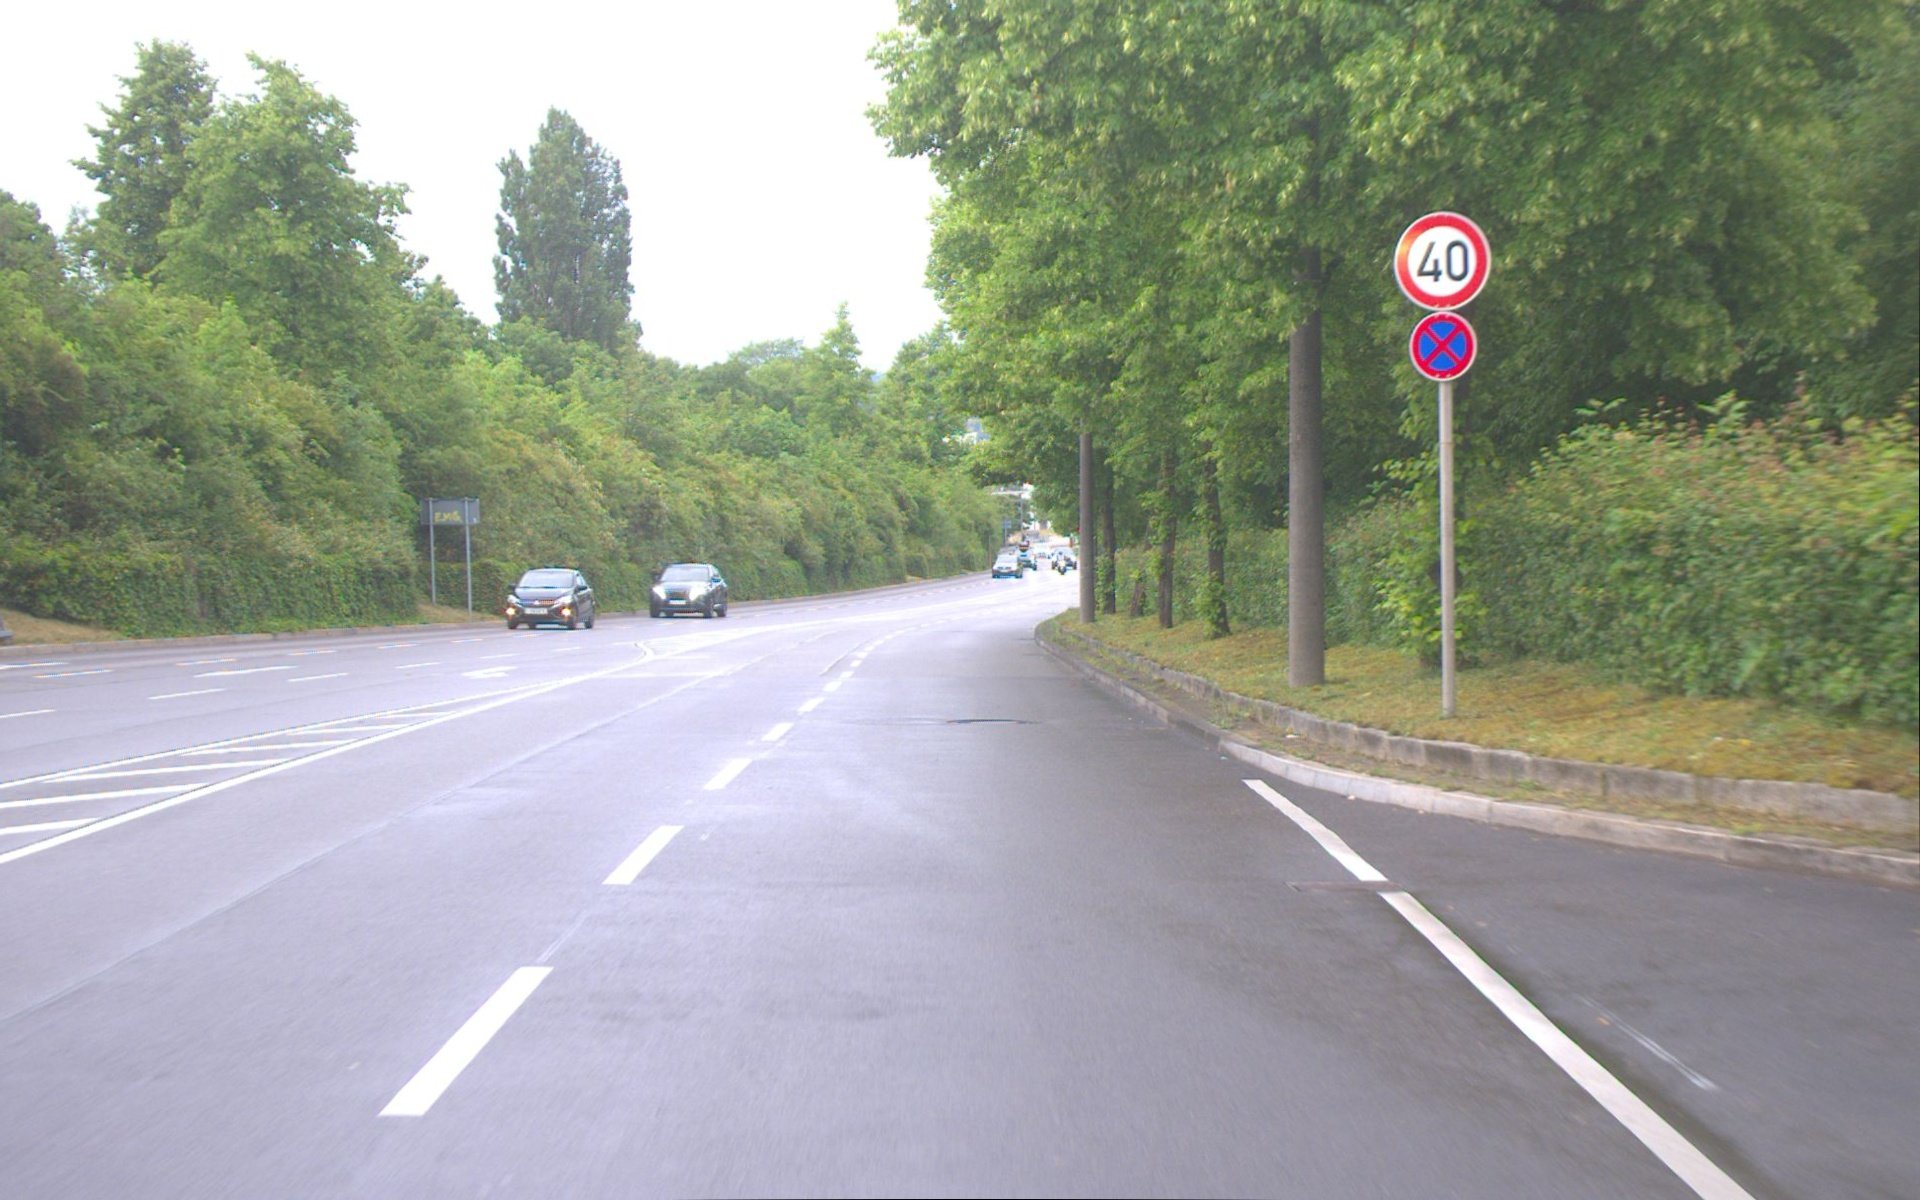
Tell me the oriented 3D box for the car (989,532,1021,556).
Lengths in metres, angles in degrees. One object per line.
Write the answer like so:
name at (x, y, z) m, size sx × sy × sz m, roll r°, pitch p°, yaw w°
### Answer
car at (2.859, -3.530, 216.815) m, size 1.864 × 1.459 × 3.892 m, roll 2°, pitch 1°, yaw 3°

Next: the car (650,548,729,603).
car at (-8.177, -0.747, 104.282) m, size 1.864 × 1.584 × 3.892 m, roll 2°, pitch 1°, yaw 3°

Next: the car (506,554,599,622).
car at (-9.856, -0.312, 83.398) m, size 1.725 × 1.560 × 3.893 m, roll 2°, pitch 1°, yaw 0°
